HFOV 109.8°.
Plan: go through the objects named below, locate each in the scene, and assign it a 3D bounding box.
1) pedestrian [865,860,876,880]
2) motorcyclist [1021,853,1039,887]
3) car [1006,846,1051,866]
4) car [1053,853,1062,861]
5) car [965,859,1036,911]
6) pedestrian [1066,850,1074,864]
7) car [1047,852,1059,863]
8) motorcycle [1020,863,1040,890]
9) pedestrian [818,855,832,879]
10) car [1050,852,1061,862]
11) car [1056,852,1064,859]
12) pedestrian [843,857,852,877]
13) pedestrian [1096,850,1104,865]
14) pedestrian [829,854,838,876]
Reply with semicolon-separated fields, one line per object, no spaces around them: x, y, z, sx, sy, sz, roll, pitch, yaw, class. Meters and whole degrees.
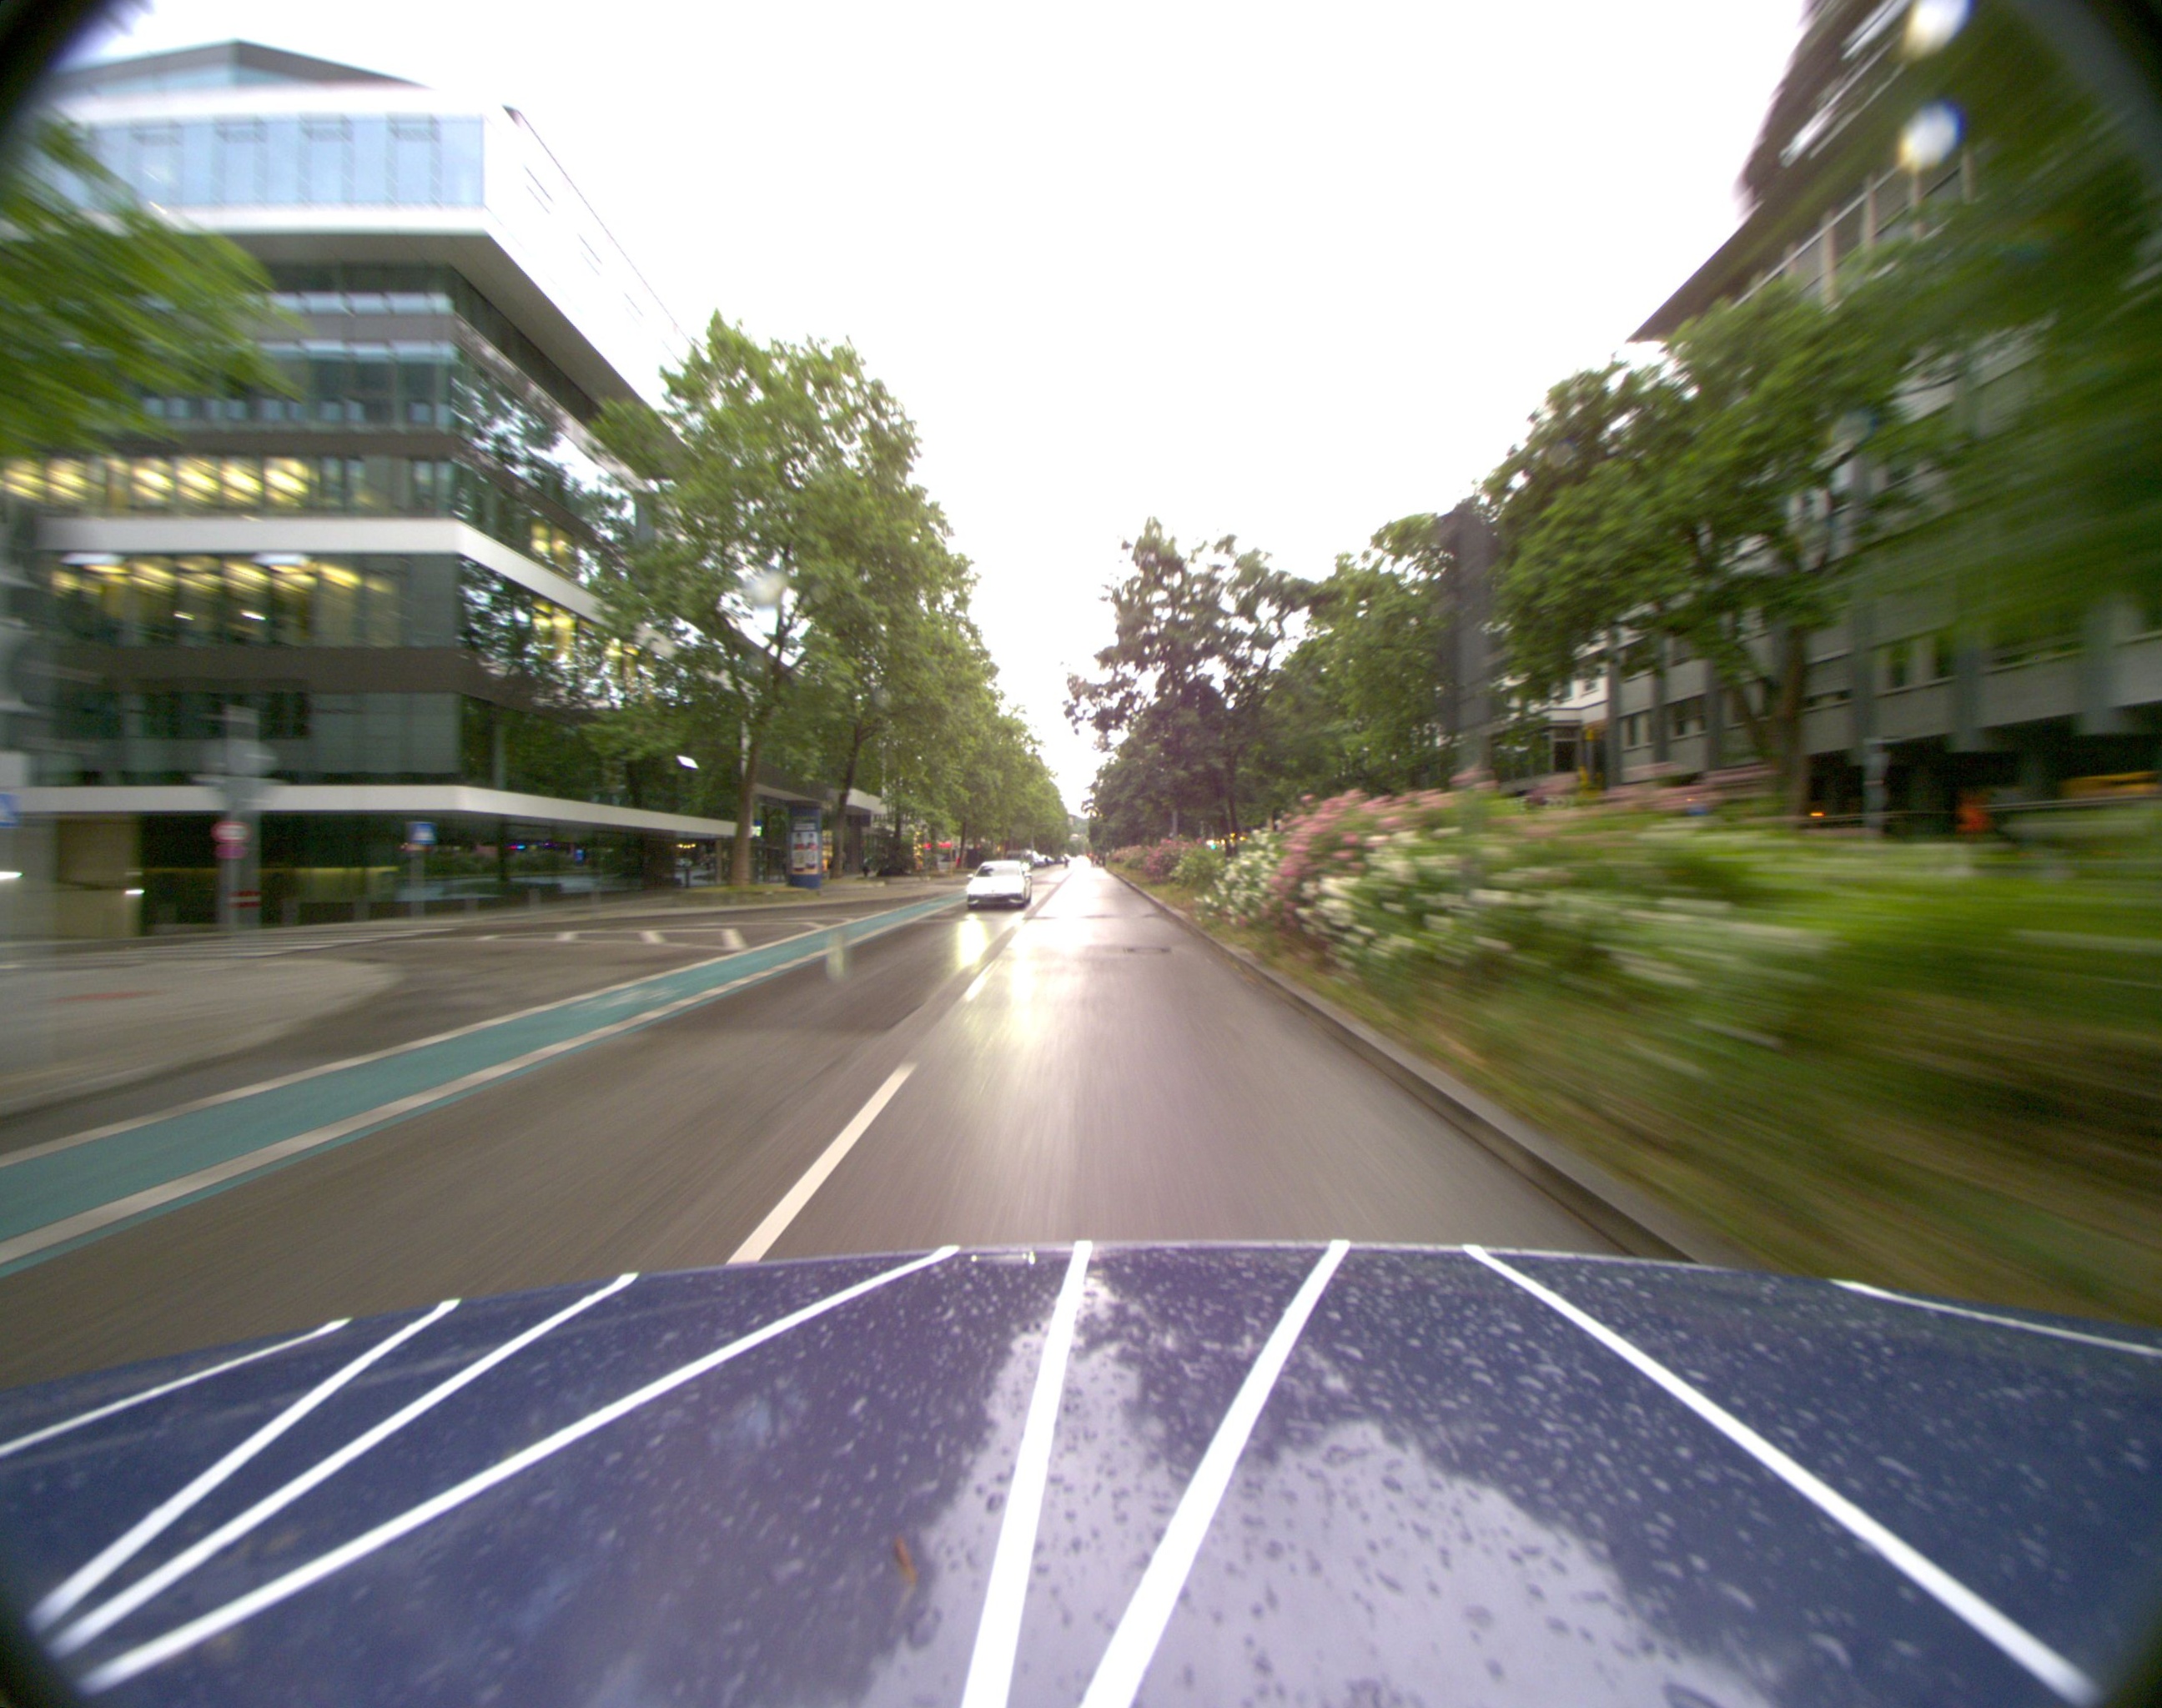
-16.143;1.222;58.251;0.588;1.496;1.005;0;0;1;pedestrian
-2.450;0.759;36.555;0.744;1.575;1.059;-2;1;1;motorcyclist
-7.387;0.263;106.807;6.267;2.665;2.326;-1;1;36;car
-4.580;0.656;148.113;1.598;1.516;3.425;-1;0;1;car
-2.519;0.943;24.651;1.795;1.463;3.794;-2;0;1;car
-1.455;0.438;100.644;0.892;1.839;0.787;-2;1;-12;pedestrian
-4.335;0.519;116.613;1.598;1.516;3.425;-1;0;1;car
-2.439;1.066;36.641;0.744;1.194;2.235;-2;1;1;motorcycle
-18.732;0.947;55.533;0.790;1.783;1.086;2;0;-12;pedestrian
-4.404;0.512;130.715;1.598;1.516;3.425;-1;0;1;car
-4.762;0.430;172.454;1.598;1.516;3.425;-1;0;1;car
-19.443;1.049;63.184;0.527;1.616;0.719;1;2;1;pedestrian
2.378;0.414;94.866;0.891;1.839;0.721;-2;1;7;pedestrian
-20.543;0.911;63.143;0.524;1.848;0.704;1;2;1;pedestrian
